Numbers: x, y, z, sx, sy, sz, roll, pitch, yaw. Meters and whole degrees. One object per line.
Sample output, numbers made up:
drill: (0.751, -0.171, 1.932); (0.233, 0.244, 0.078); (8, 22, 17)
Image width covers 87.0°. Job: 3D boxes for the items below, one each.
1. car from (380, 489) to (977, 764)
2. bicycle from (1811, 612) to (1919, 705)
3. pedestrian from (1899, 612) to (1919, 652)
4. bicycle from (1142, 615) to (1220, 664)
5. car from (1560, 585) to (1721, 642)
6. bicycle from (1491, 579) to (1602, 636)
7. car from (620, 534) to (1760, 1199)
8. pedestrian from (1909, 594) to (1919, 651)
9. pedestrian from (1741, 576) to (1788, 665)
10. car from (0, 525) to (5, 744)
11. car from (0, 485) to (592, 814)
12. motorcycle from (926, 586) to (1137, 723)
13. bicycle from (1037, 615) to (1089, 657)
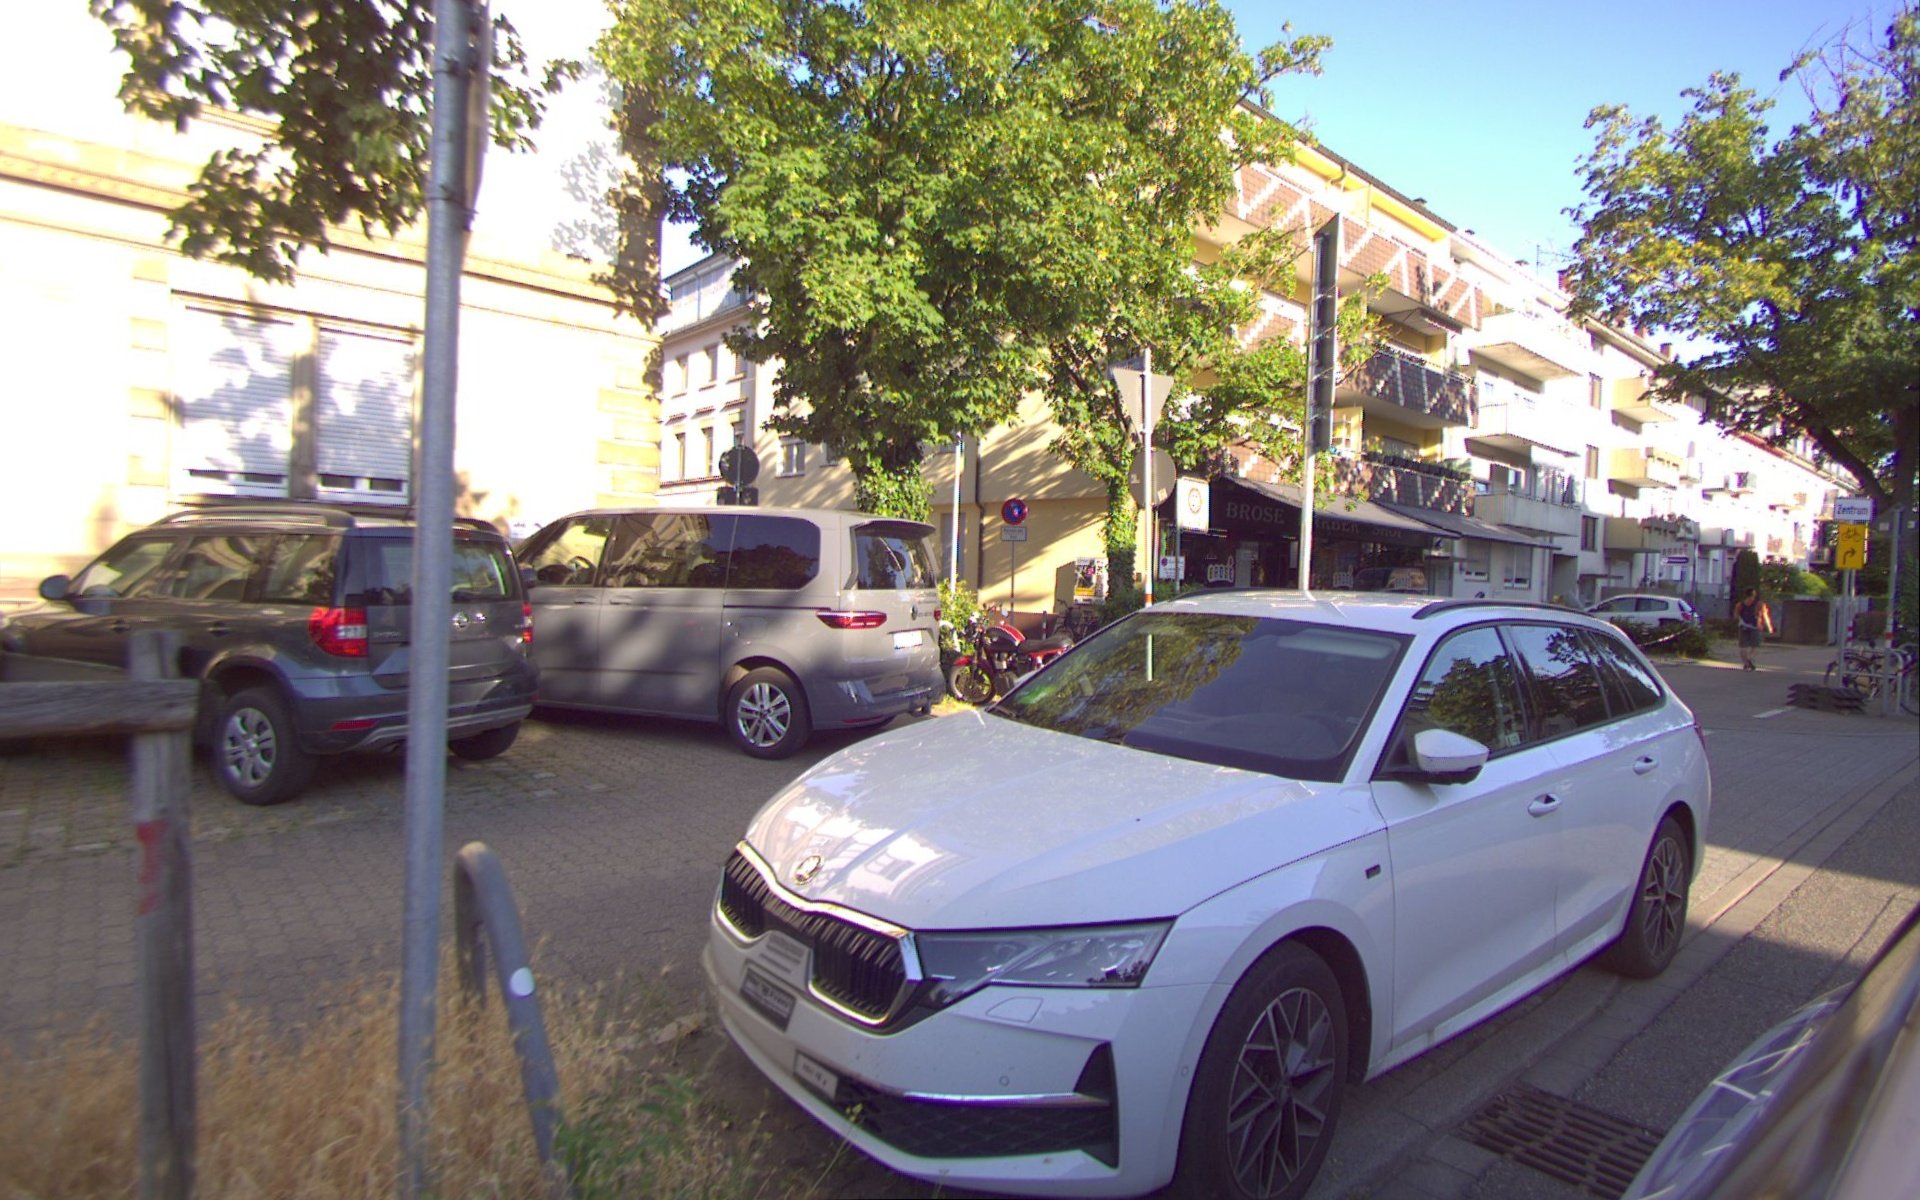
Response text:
car: (-2.470, 0.092, 8.860); (4.880, 1.923, 1.907); (2, 1, 21)
bicycle: (13.266, 0.826, 14.267); (0.602, 1.176, 1.905); (1, 3, -13)
pedestrian: (25.954, 0.864, 27.498); (0.522, 1.072, 0.553); (1, 1, -39)
bicycle: (3.821, 0.658, 17.432); (1.504, 0.777, 0.486); (0, 1, -40)
car: (20.898, 0.369, 31.185); (1.550, 1.523, 3.869); (0, 2, -45)
bicycle: (15.989, 0.179, 27.647); (0.912, 1.459, 2.457); (1, 2, -42)
car: (1.299, 0.618, 3.810); (4.540, 1.496, 1.825); (0, 2, -41)
pedestrian: (25.328, 0.593, 26.282); (0.798, 1.462, 0.916); (1, 1, -42)
pedestrian: (16.656, 0.417, 20.957); (0.552, 1.794, 0.619); (2, 0, -40)
car: (-7.084, 0.222, 5.343); (4.061, 1.458, 1.701); (4, 2, 27)
car: (-4.766, 0.163, 6.901); (4.050, 1.720, 1.776); (3, 2, 20)
motorcycle: (0.710, 0.511, 10.643); (2.153, 1.255, 0.778); (2, 1, 40)
bicycle: (1.967, 0.677, 19.320); (0.900, 0.752, 0.426); (2, 1, 18)
